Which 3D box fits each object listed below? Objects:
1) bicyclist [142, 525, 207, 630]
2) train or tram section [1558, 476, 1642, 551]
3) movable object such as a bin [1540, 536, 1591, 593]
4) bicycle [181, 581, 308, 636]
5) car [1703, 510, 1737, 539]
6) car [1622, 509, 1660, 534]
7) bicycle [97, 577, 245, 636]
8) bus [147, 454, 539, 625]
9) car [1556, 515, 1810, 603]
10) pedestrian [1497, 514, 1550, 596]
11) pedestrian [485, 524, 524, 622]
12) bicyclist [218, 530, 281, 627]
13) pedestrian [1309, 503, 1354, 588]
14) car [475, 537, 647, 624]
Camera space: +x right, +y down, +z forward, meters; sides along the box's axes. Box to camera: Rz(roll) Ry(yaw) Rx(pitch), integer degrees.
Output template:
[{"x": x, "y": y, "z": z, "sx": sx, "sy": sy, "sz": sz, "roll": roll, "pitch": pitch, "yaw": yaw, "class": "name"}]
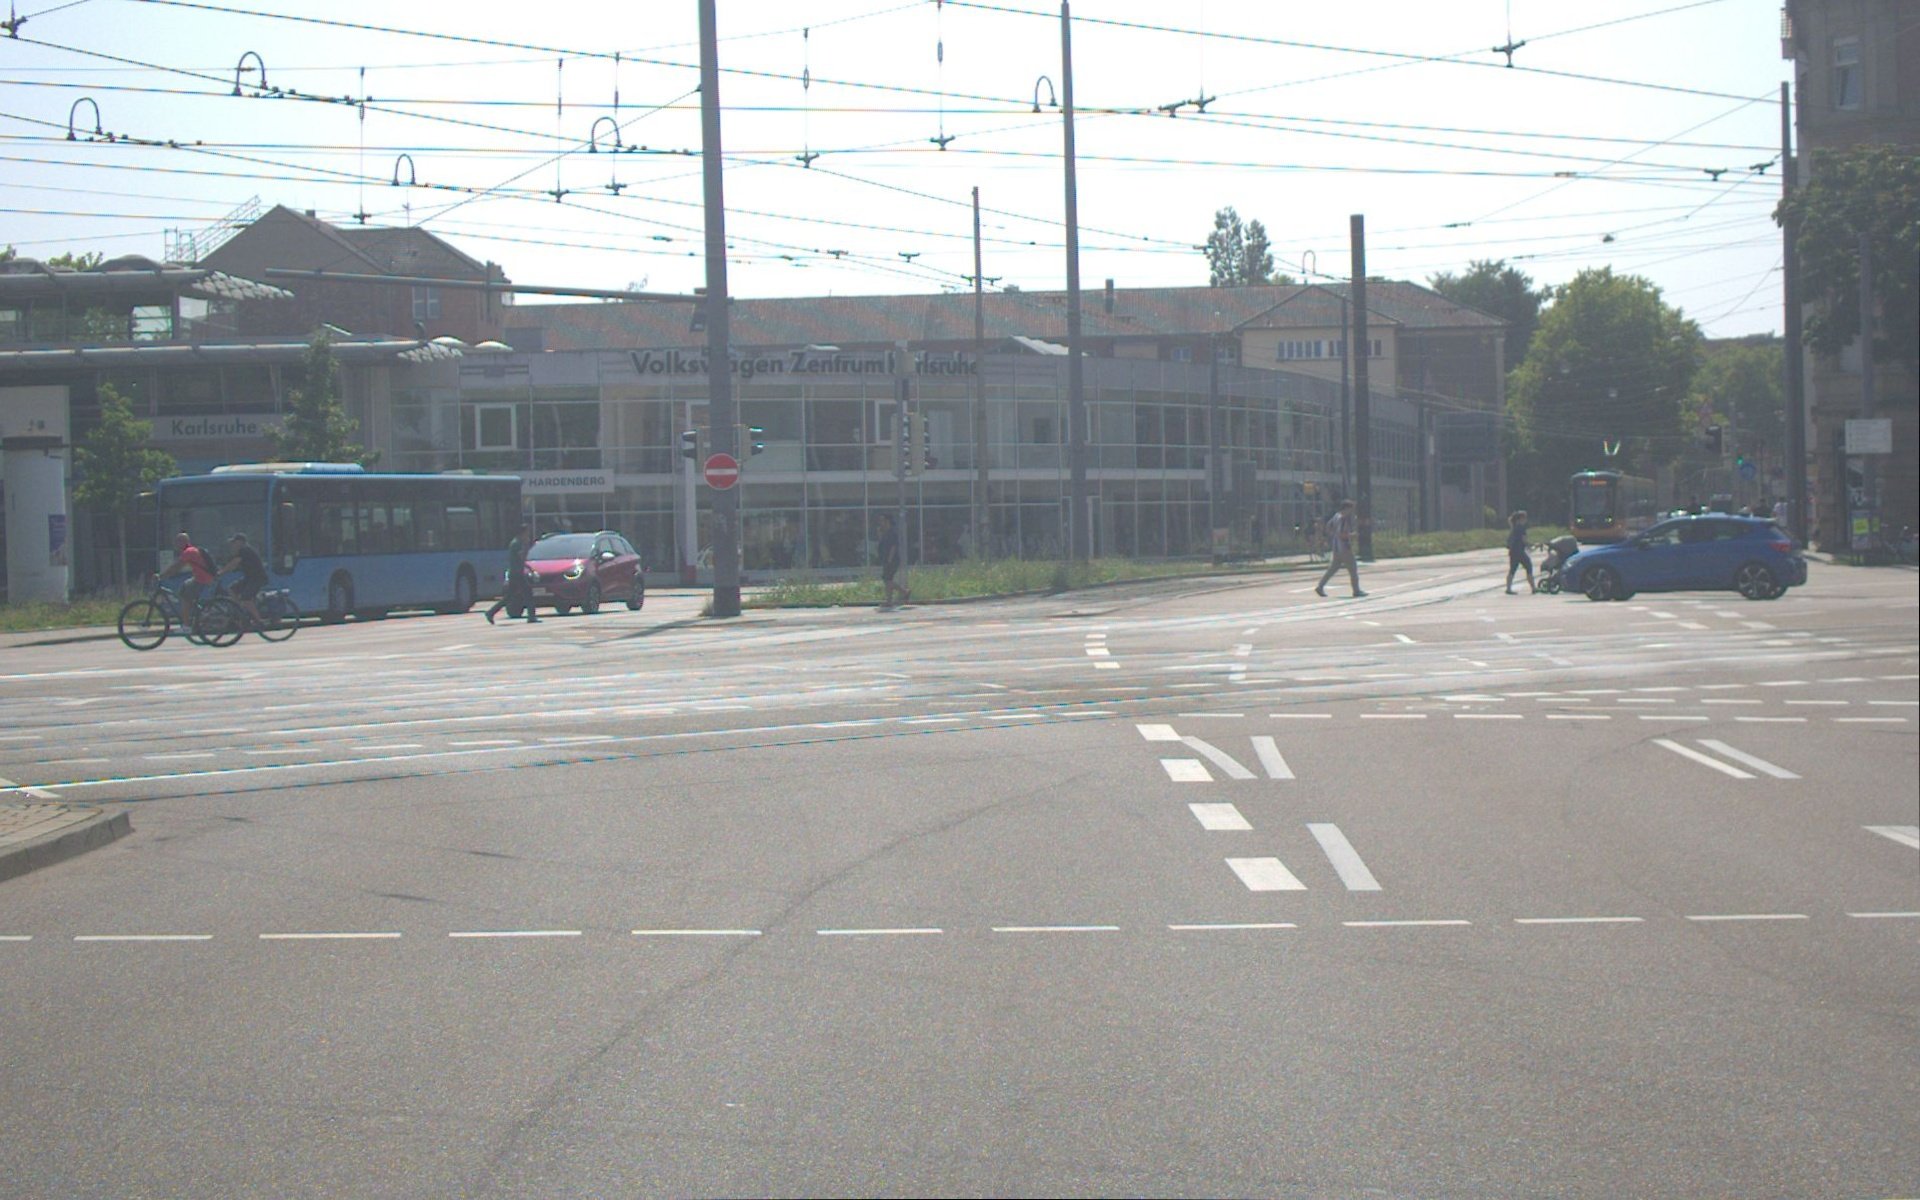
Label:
[{"x": -11.328, "y": -0.328, "z": 49.563, "sx": 0.871, "sy": 1.478, "sz": 0.497, "roll": -1, "pitch": 1, "yaw": -13, "class": "bicyclist"}, {"x": 31.185, "y": -4.192, "z": 167.213, "sx": 2.590, "sy": 3.504, "sz": 10.889, "roll": -1, "pitch": 1, "yaw": 18, "class": "train or tram section"}, {"x": 11.583, "y": -0.686, "z": 65.754, "sx": 0.812, "sy": 1.073, "sz": 0.512, "roll": -1, "pitch": 1, "yaw": -11, "class": "movable object such as a bin"}, {"x": -11.113, "y": 0.123, "z": 53.415, "sx": 1.855, "sy": 0.799, "sz": 0.608, "roll": -2, "pitch": 1, "yaw": -19, "class": "bicycle"}, {"x": 48.302, "y": -4.784, "z": 218.443, "sx": 1.821, "sy": 1.803, "sz": 3.997, "roll": 1, "pitch": 0, "yaw": 17, "class": "car"}, {"x": 43.507, "y": -5.016, "z": 219.640, "sx": 1.799, "sy": 1.503, "sz": 3.996, "roll": -1, "pitch": 1, "yaw": 19, "class": "car"}, {"x": -11.376, "y": 0.089, "z": 49.589, "sx": 2.048, "sy": 0.799, "sz": 0.479, "roll": -1, "pitch": 1, "yaw": -13, "class": "bicycle"}, {"x": -11.994, "y": -1.247, "z": 68.538, "sx": 2.564, "sy": 3.072, "sz": 12.014, "roll": -1, "pitch": 1, "yaw": 16, "class": "bus"}, {"x": 12.161, "y": -0.697, "z": 57.805, "sx": 3.990, "sy": 1.389, "sz": 1.595, "roll": -1, "pitch": 1, "yaw": 18, "class": "car"}, {"x": 10.764, "y": -0.869, "z": 65.641, "sx": 0.850, "sy": 1.539, "sz": 0.529, "roll": -1, "pitch": 1, "yaw": -8, "class": "pedestrian"}, {"x": -7.826, "y": -0.464, "z": 59.078, "sx": 0.552, "sy": 1.678, "sz": 0.454, "roll": -1, "pitch": 1, "yaw": -19, "class": "pedestrian"}, {"x": -11.048, "y": -0.340, "z": 53.443, "sx": 0.871, "sy": 1.470, "sz": 0.546, "roll": -1, "pitch": 1, "yaw": -18, "class": "bicyclist"}, {"x": 7.012, "y": -1.028, "z": 64.956, "sx": 0.699, "sy": 1.597, "sz": 0.573, "roll": -1, "pitch": 1, "yaw": -8, "class": "pedestrian"}, {"x": -7.551, "y": -0.395, "z": 65.459, "sx": 1.751, "sy": 1.546, "sz": 3.997, "roll": -1, "pitch": 1, "yaw": 17, "class": "car"}]
